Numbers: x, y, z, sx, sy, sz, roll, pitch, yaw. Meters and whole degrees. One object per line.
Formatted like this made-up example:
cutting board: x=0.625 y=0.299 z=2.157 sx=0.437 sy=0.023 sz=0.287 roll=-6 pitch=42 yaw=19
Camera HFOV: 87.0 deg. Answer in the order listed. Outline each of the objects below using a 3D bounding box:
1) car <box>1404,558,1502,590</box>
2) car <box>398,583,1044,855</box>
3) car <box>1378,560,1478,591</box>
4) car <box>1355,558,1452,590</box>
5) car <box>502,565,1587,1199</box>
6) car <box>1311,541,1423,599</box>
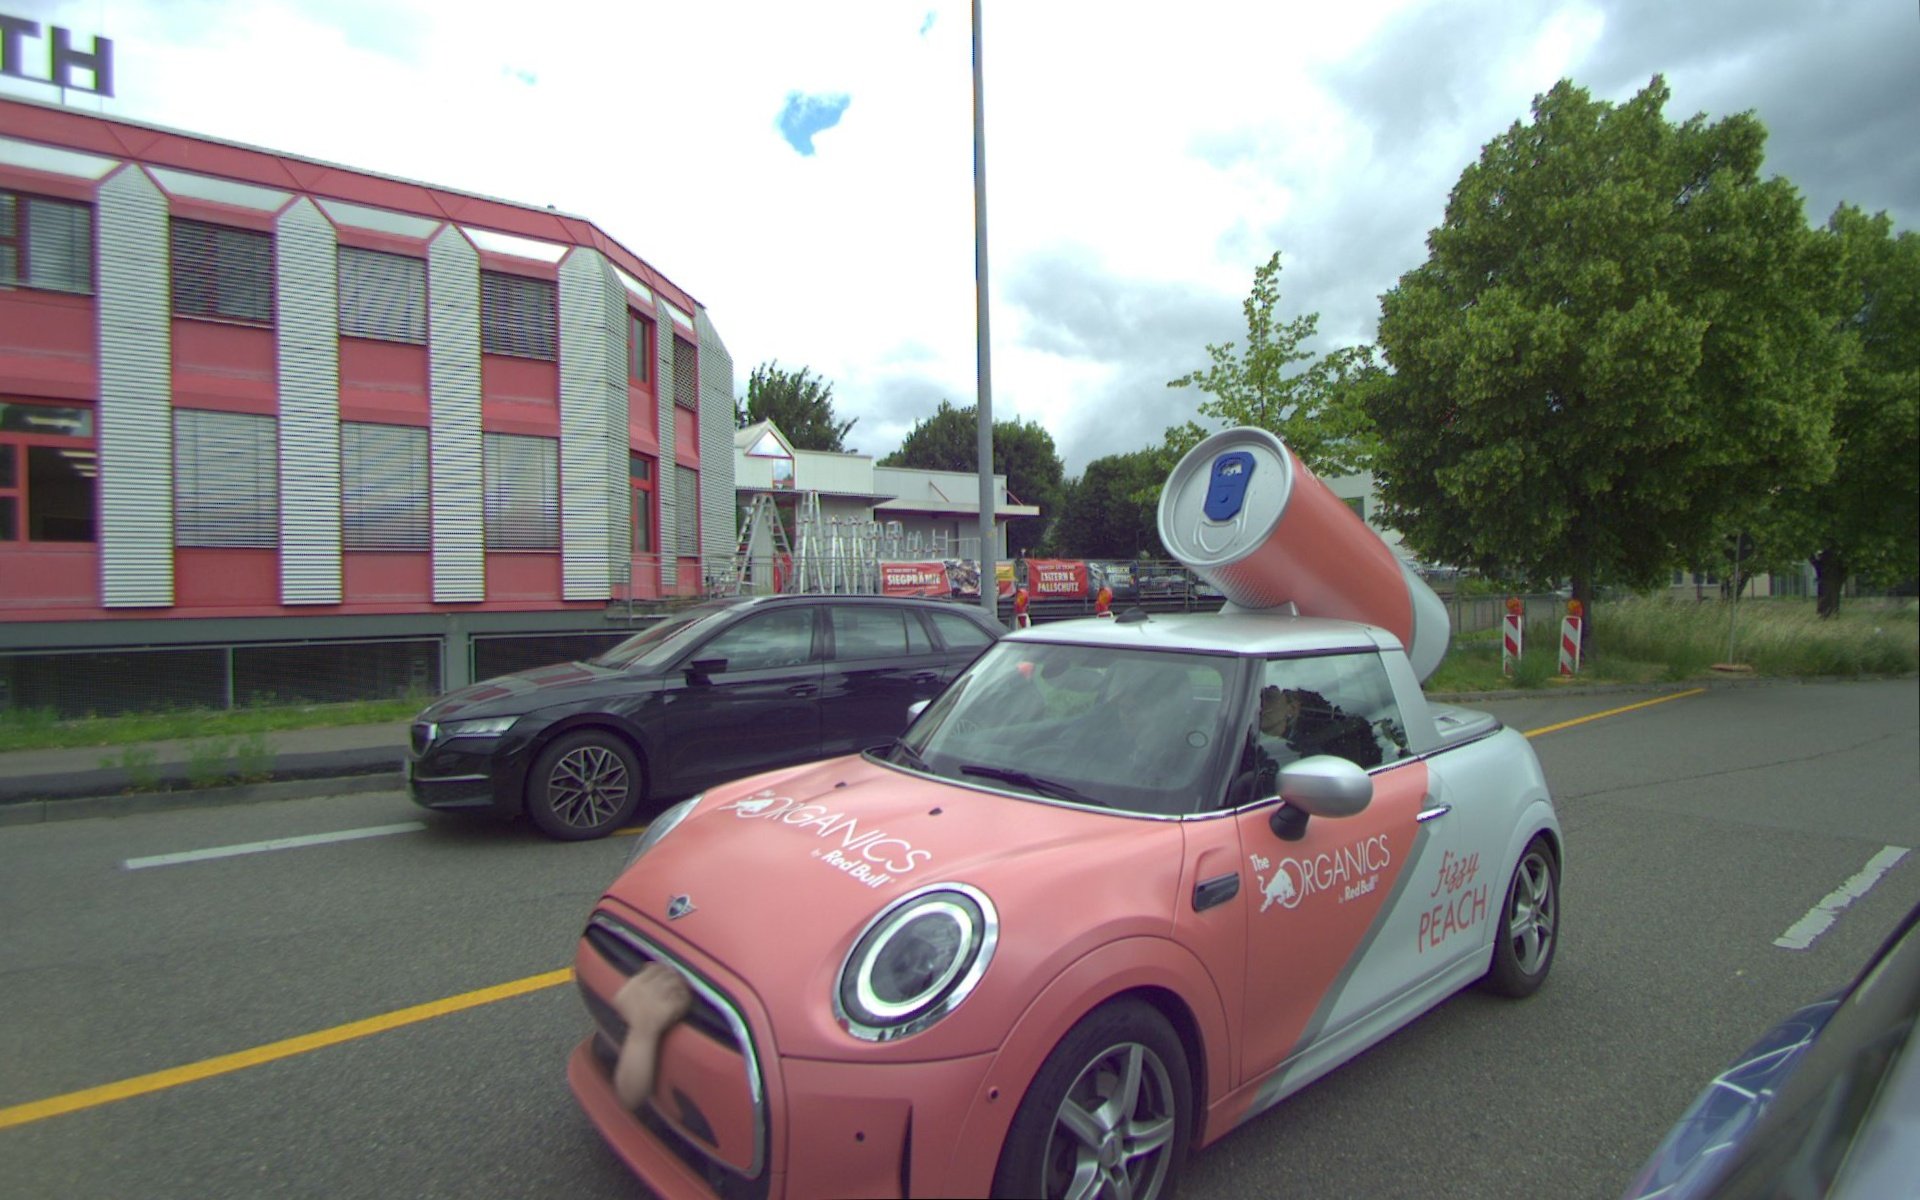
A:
car: x=23.950 y=-1.260 z=49.287 sx=1.721 sy=1.501 sz=3.941 roll=0 pitch=1 yaw=-33
car: x=-1.623 y=0.630 z=7.347 sx=4.195 sy=1.450 sz=1.843 roll=0 pitch=1 yaw=-33
car: x=22.024 y=-1.175 z=47.744 sx=1.721 sy=1.385 sz=3.941 roll=0 pitch=1 yaw=-33
car: x=20.253 y=-1.173 z=46.348 sx=1.721 sy=1.381 sz=3.770 roll=0 pitch=1 yaw=-33
car: x=0.584 y=0.663 z=3.498 sx=3.632 sy=1.475 sz=1.721 roll=0 pitch=0 yaw=-41
car: x=15.478 y=-1.089 z=38.658 sx=1.611 sy=1.984 sz=3.768 roll=2 pitch=-2 yaw=-33
